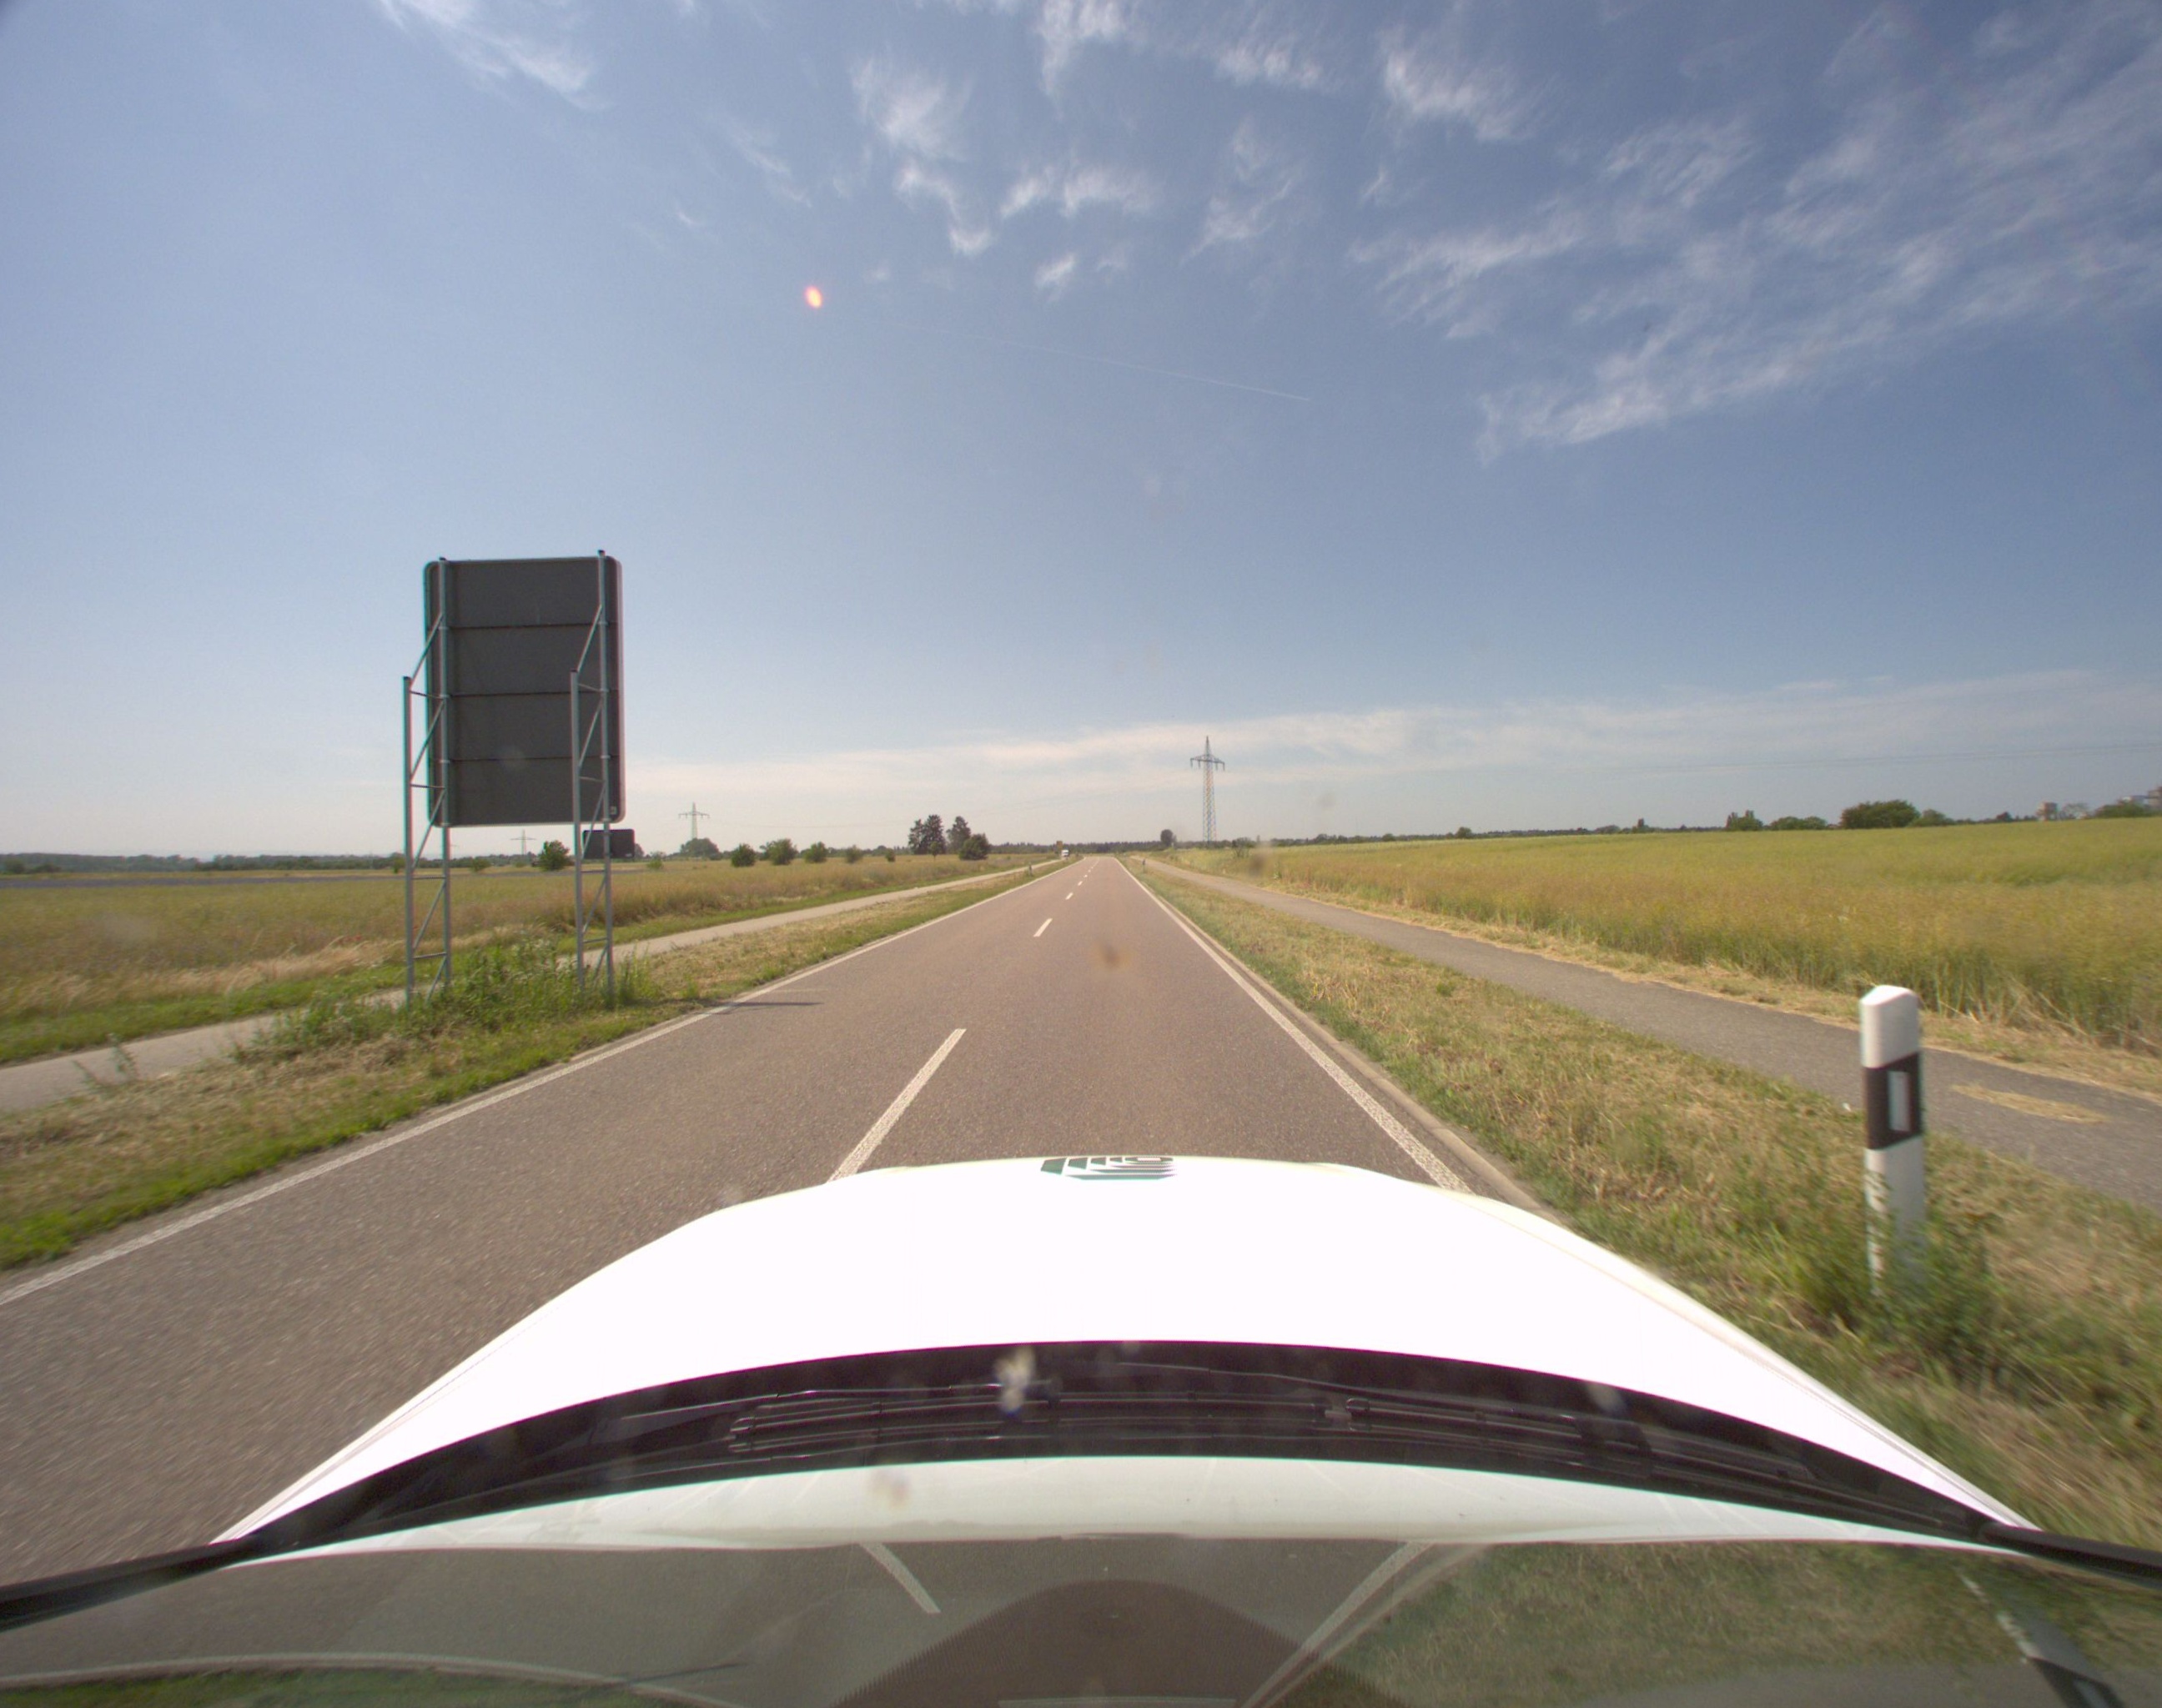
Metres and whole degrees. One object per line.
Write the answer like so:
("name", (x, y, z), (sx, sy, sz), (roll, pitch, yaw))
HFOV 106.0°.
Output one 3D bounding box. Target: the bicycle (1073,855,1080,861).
("bicycle", (-1.003, 0.888, 187.113), (0.755, 1.229, 2.228), (-2, 0, 23))
